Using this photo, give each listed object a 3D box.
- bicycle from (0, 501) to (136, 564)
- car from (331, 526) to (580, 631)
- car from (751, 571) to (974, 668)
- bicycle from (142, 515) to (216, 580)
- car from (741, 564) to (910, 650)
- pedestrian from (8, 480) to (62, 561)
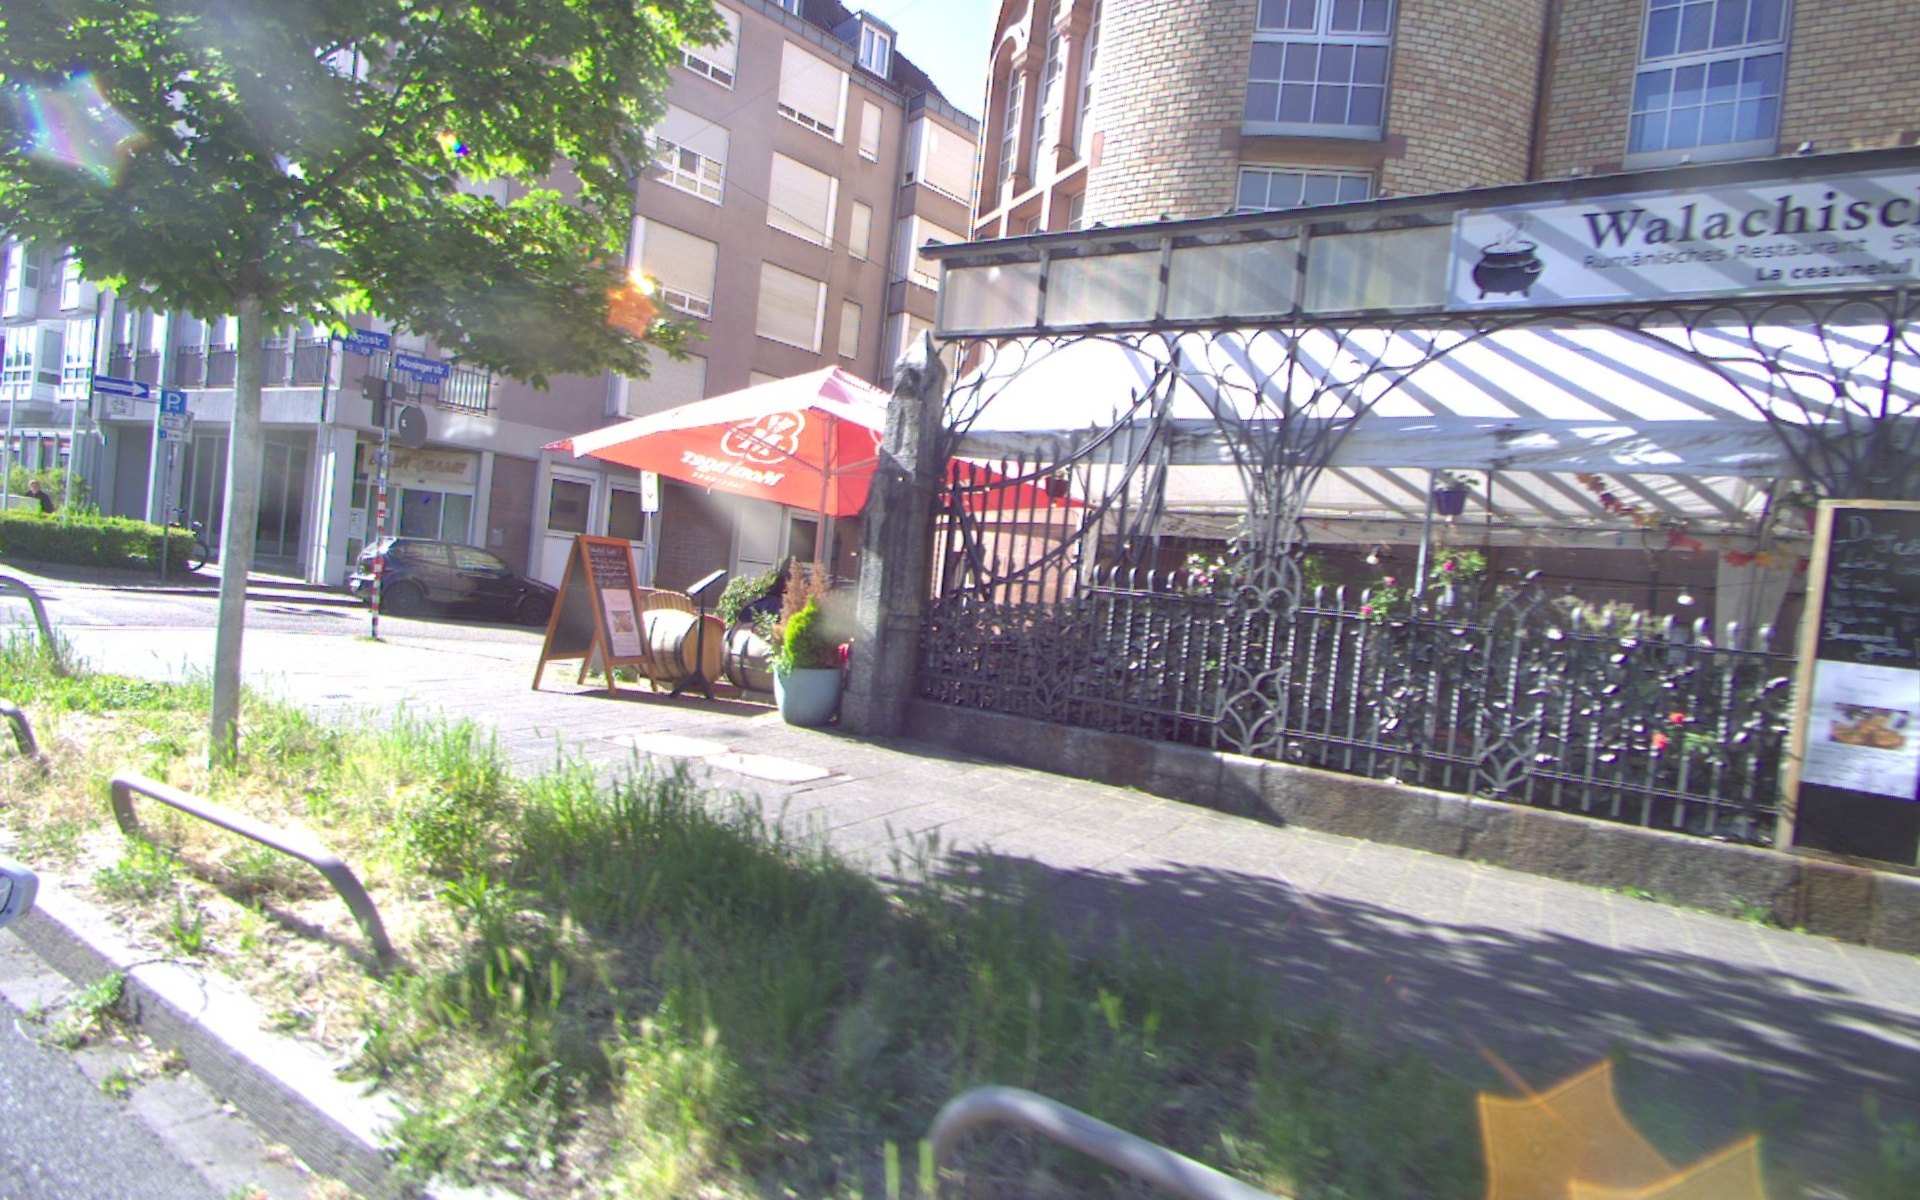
[{"bbox_3d":[-18.064,-1.345,20.205,0.676,1.041,2.195,9,3,33],"label":"bicycle"},{"bbox_3d":[-9.857,-0.380,19.842,1.837,1.541,3.935,7,-1,44],"label":"car"},{"bbox_3d":[-1.788,0.408,19.272,3.930,1.541,1.775,6,-2,-43],"label":"car"},{"bbox_3d":[-15.655,-1.067,20.134,2.170,1.041,0.684,10,4,40],"label":"bicycle"},{"bbox_3d":[-3.393,0.212,25.880,1.772,1.727,3.935,7,0,44],"label":"car"},{"bbox_3d":[-19.325,-1.657,21.024,0.593,1.626,0.653,6,4,26],"label":"pedestrian"}]
